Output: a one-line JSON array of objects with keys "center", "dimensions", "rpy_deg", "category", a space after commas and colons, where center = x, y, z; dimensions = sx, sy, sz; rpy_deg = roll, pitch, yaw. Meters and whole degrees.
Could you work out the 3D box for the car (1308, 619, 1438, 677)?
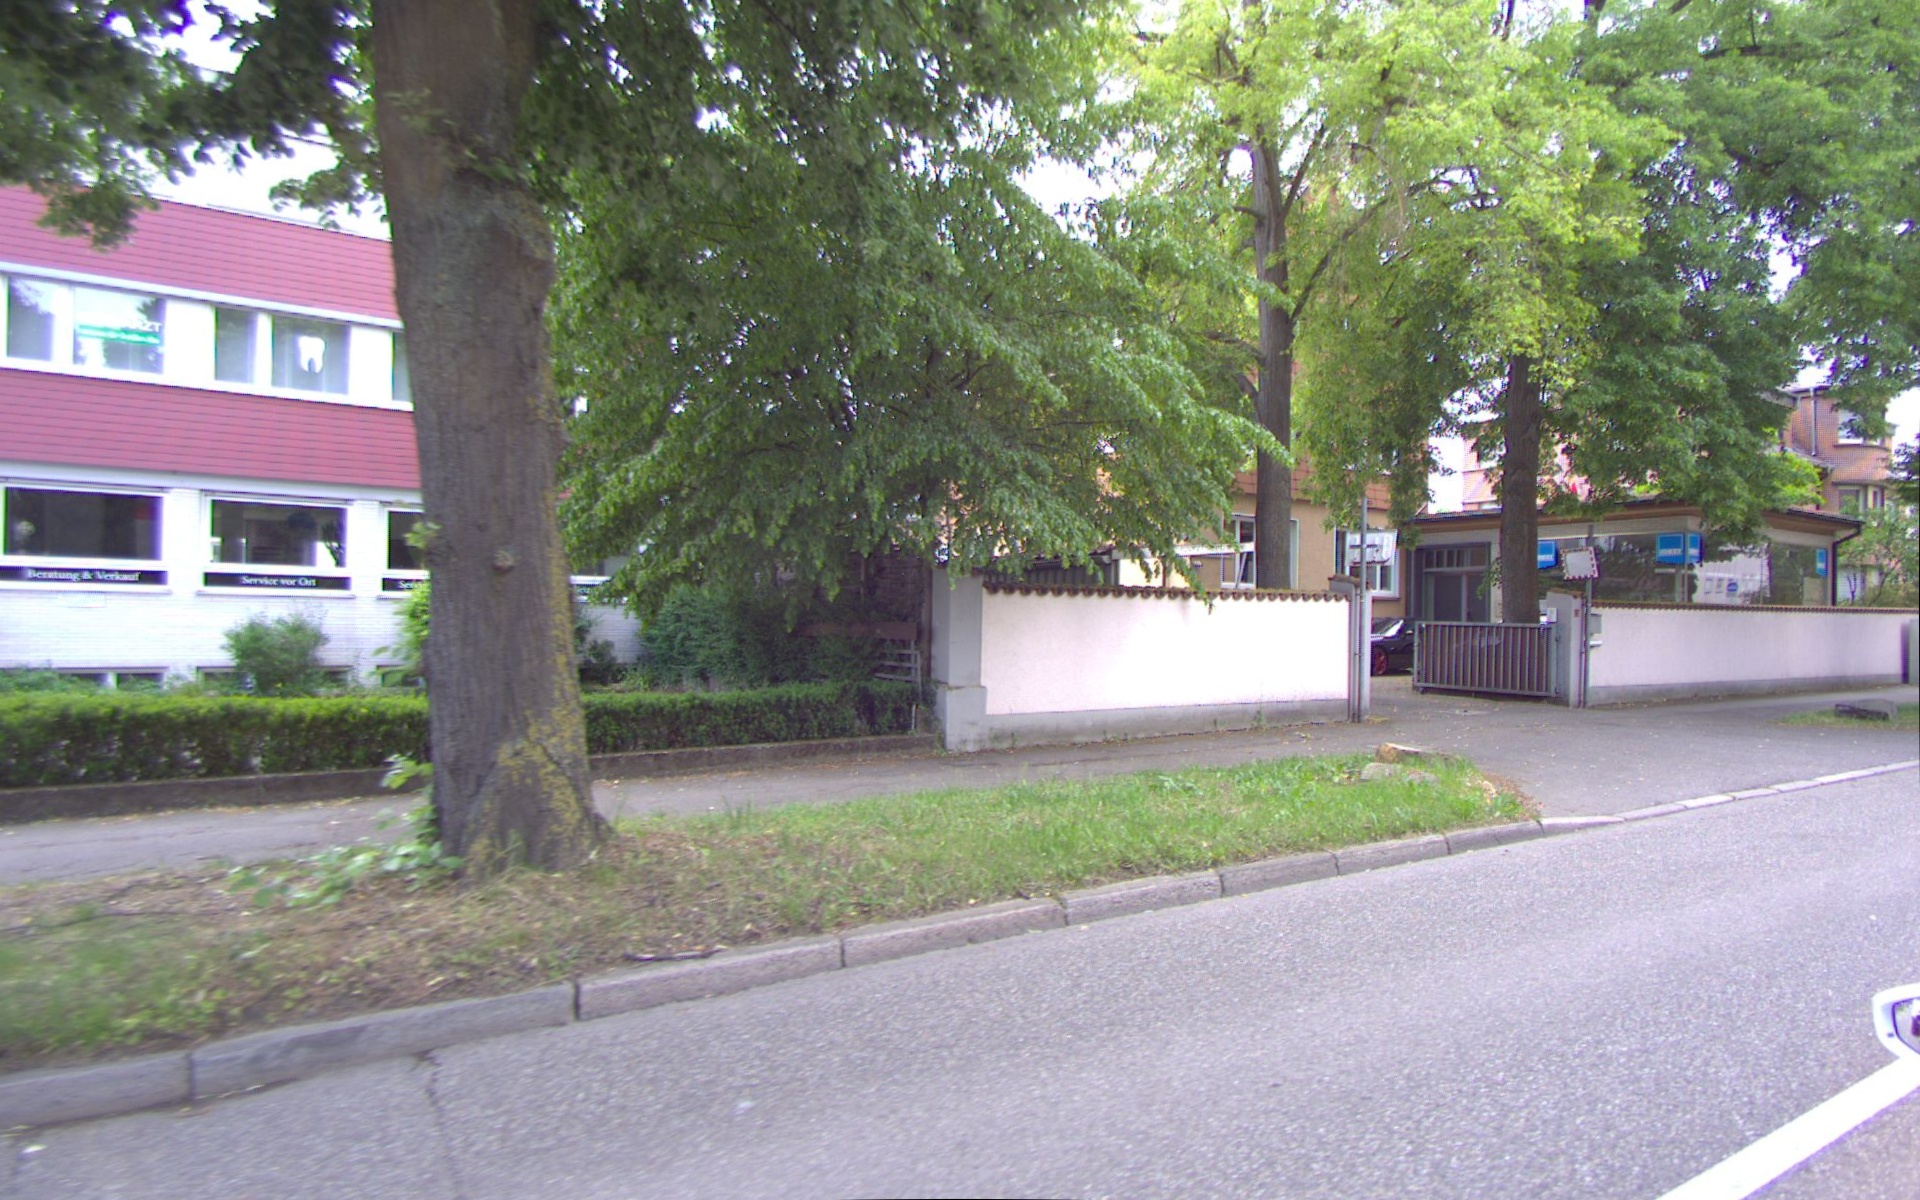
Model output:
[{"center": [10.497, 1.196, 25.488], "dimensions": [3.360, 1.347, 1.333], "rpy_deg": [2, 0, -32], "category": "car"}]
